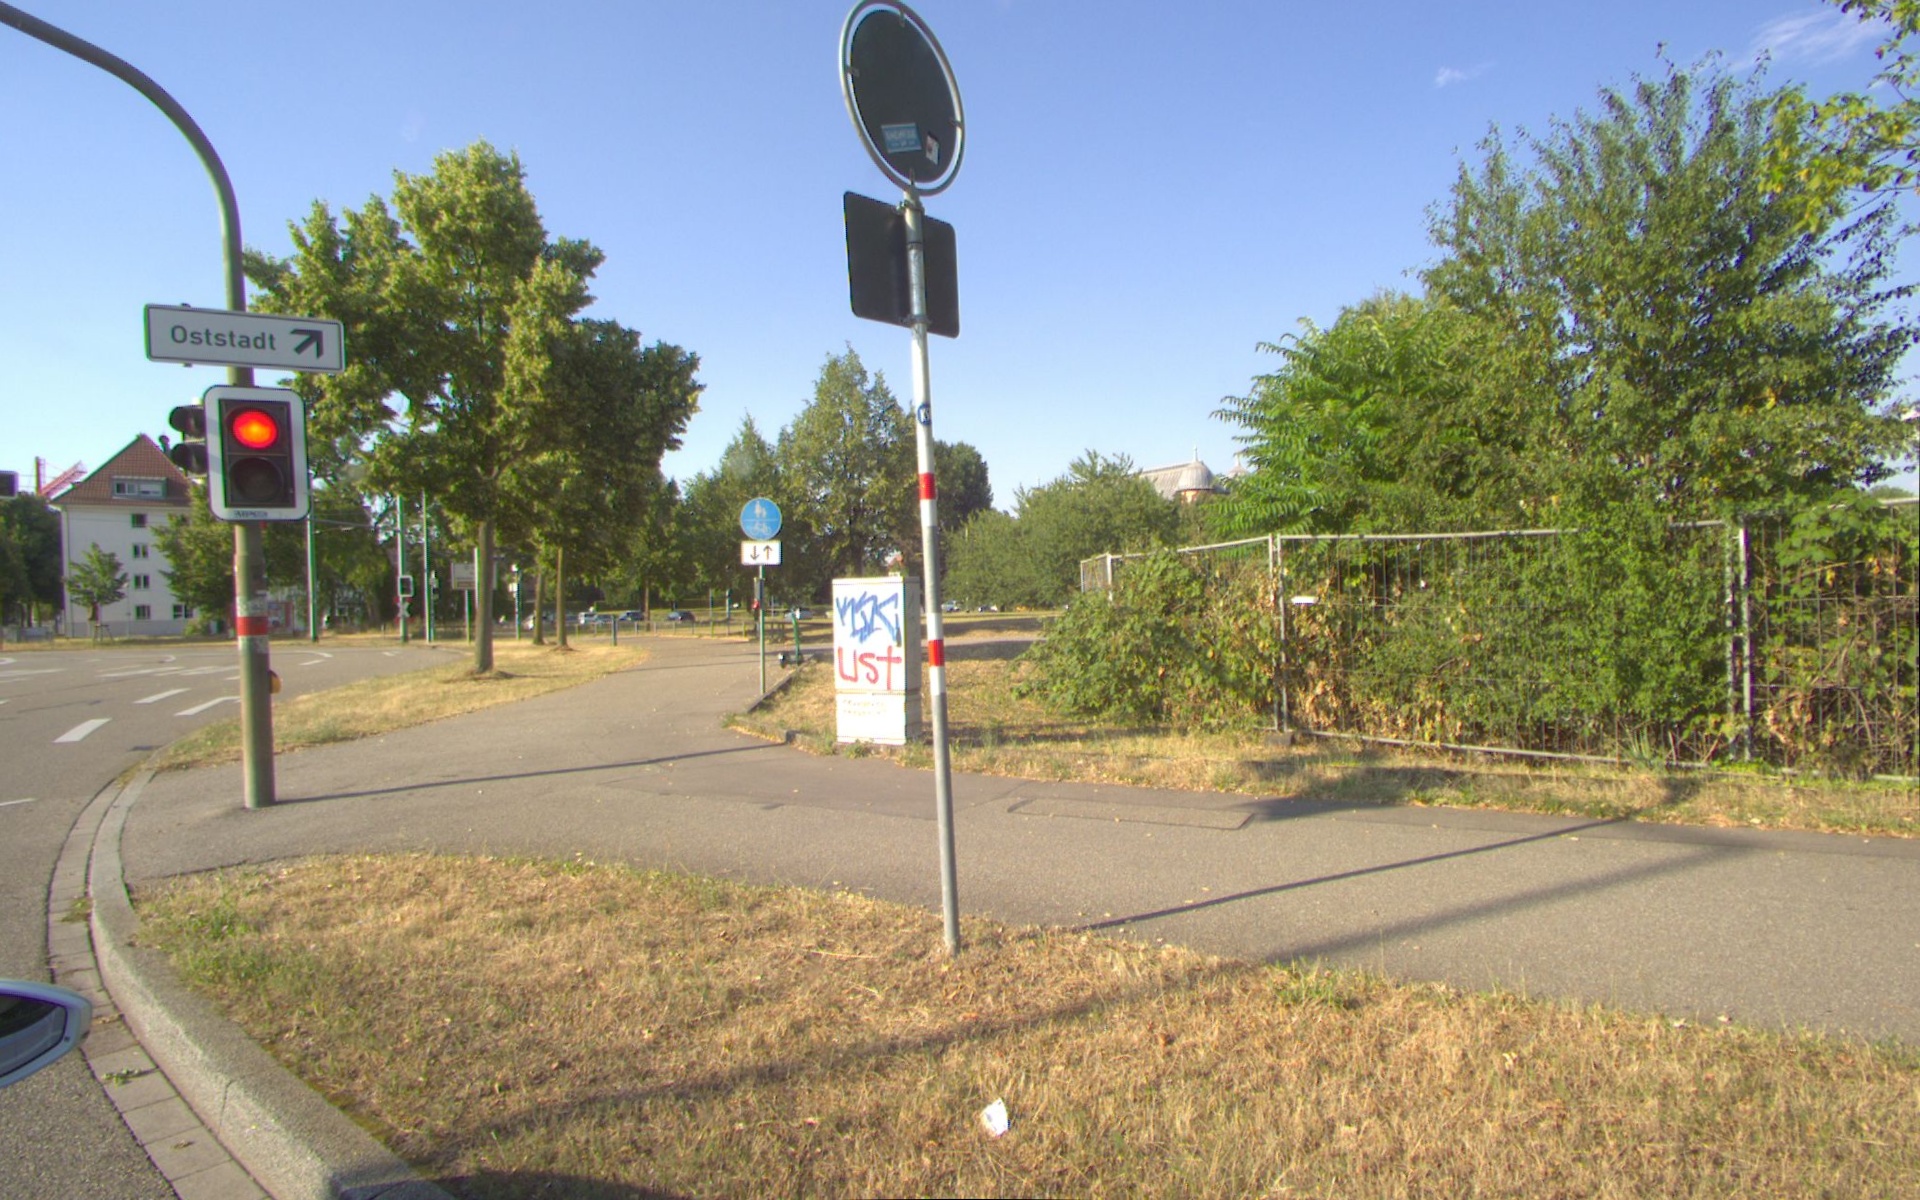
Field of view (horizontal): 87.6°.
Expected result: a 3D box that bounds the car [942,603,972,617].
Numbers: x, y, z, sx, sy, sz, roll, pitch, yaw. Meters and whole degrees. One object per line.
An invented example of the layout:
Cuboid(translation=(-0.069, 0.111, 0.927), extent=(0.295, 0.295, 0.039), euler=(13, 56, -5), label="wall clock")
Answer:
Cuboid(translation=(-0.335, 1.250, 123.676), extent=(1.803, 1.694, 3.976), euler=(-1, 0, -33), label="car")

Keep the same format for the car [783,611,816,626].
Cuboid(translation=(-16.021, 1.835, 100.020), extent=(1.803, 1.421, 3.976), euler=(-1, -1, -33), label="car")

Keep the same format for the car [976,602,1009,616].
Cuboid(translation=(3.689, 1.008, 113.241), extent=(1.803, 1.421, 3.976), euler=(-1, -1, -33), label="car")

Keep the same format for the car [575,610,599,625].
Cuboid(translation=(-37.153, 1.718, 99.725), extent=(1.583, 1.420, 3.950), euler=(-1, 0, -29), label="car")

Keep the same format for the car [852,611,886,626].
Cuboid(translation=(-9.454, 1.943, 104.179), extent=(1.802, 1.421, 3.976), euler=(-3, 1, -33), label="car")

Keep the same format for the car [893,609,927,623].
Cuboid(translation=(-5.361, 1.665, 106.804), extent=(1.803, 1.421, 3.976), euler=(-1, -1, -33), label="car")

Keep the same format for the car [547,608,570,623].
Cuboid(translation=(-39.349, 1.519, 98.063), extent=(1.583, 1.420, 3.950), euler=(-1, 0, -29), label="car")

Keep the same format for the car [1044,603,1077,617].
Cuboid(translation=(11.852, 1.192, 118.399), extent=(1.803, 1.590, 3.974), euler=(-1, 1, -33), label="car")

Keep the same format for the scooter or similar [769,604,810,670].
Cuboid(translation=(-3.268, 0.688, 19.238), extent=(0.336, 1.175, 1.169), euler=(-4, 2, 8), label="scooter or similar")

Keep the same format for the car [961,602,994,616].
Cuboid(translation=(1.908, 0.976, 111.264), extent=(1.803, 1.421, 3.976), euler=(-1, -1, -33), label="car")

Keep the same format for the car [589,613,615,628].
Cuboid(translation=(-32.224, 1.850, 90.137), extent=(1.583, 1.237, 3.950), euler=(-1, -1, -29), label="car")

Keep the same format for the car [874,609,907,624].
Cuboid(translation=(-7.363, 1.756, 105.483), extent=(1.803, 1.421, 3.976), euler=(-1, -1, -33), label="car")

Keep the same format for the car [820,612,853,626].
Cuboid(translation=(-12.686, 1.951, 102.982), extent=(1.803, 1.421, 3.976), euler=(-1, -1, -33), label="car")

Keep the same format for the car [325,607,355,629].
Cuboid(translation=(-48.255, 1.417, 77.948), extent=(1.751, 1.639, 3.950), euler=(-1, 0, -29), label="car")

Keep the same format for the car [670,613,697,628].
Cuboid(translation=(-25.673, 1.933, 92.902), extent=(1.583, 1.327, 3.950), euler=(-1, -1, -29), label="car")

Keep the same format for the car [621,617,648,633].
Cuboid(translation=(-29.481, 2.254, 90.512), extent=(1.583, 1.420, 3.950), euler=(-1, 0, -29), label="car")

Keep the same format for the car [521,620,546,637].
Cuboid(translation=(-36.783, 2.459, 86.402), extent=(1.583, 1.420, 3.950), euler=(-1, 0, -29), label="car")
